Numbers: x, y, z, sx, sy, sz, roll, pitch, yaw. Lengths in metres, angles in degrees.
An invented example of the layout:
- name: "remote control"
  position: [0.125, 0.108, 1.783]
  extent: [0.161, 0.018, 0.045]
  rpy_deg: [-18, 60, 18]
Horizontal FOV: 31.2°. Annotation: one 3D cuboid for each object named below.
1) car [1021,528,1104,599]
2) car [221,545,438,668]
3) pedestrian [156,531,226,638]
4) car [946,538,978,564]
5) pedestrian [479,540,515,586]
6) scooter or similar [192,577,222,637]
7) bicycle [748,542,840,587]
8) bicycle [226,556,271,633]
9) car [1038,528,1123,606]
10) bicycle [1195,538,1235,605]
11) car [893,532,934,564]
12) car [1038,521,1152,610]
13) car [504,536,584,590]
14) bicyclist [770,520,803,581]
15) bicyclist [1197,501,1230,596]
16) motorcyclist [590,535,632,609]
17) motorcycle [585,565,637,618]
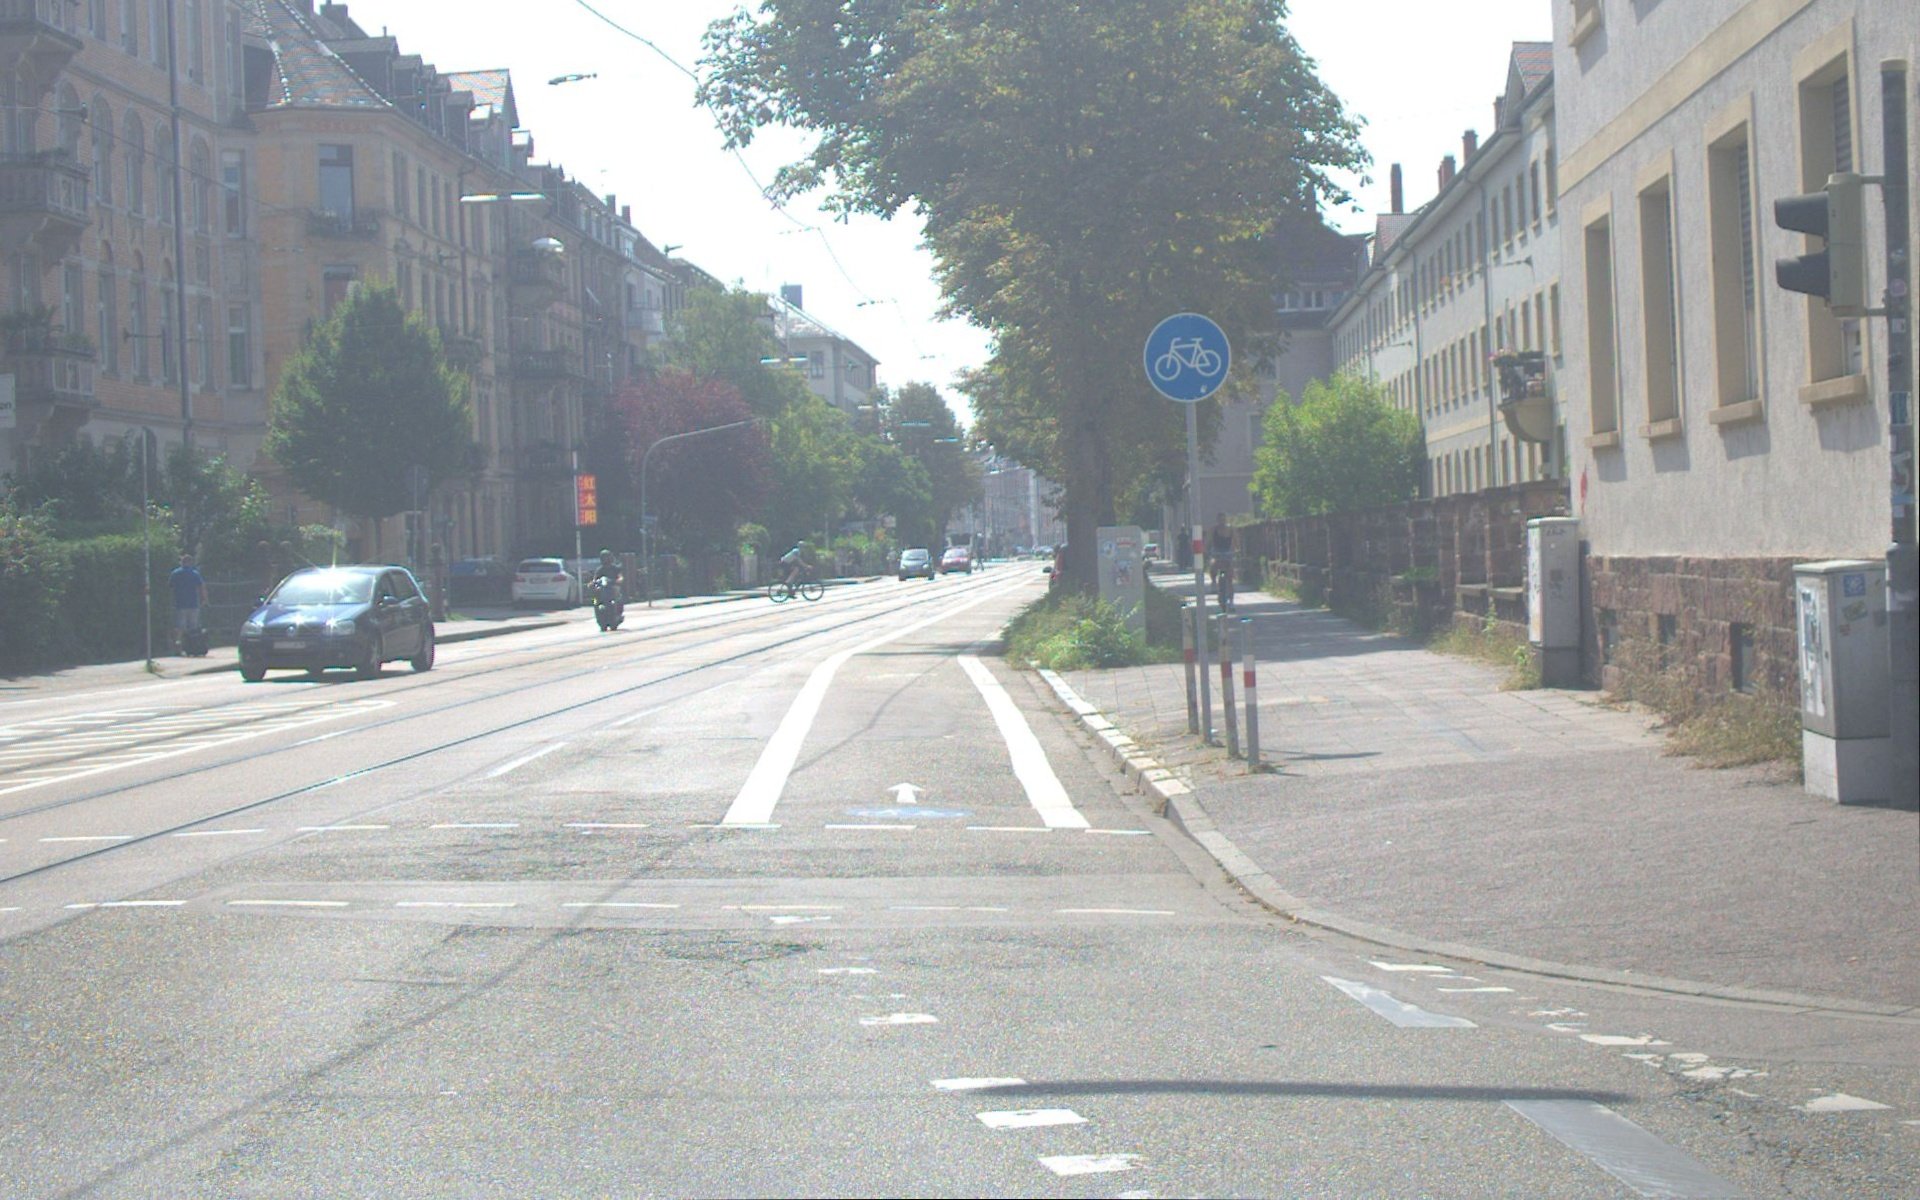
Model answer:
- name: "car"
  position: [2.458, -0.872, 81.465]
  extent: [1.755, 1.472, 4.457]
  rpy_deg: [-6, 0, 3]
- name: "car"
  position: [-8.321, 0.050, 45.712]
  extent: [1.727, 1.428, 4.176]
  rpy_deg: [1, 2, 6]
- name: "pedestrian"
  position: [-12.845, -0.265, 57.433]
  extent: [0.883, 1.750, 0.870]
  rpy_deg: [-2, 1, 3]
- name: "car"
  position: [0.160, -2.956, 207.858]
  extent: [1.732, 1.485, 4.000]
  rpy_deg: [-3, 1, 2]
- name: "pedestrian"
  position: [-15.459, -1.222, 114.764]
  extent: [0.883, 1.506, 0.870]
  rpy_deg: [-3, 1, -28]
- name: "scooter or similar"
  position: [-12.444, 0.106, 56.805]
  extent: [0.400, 0.979, 0.584]
  rpy_deg: [-1, 1, -5]
- name: "bicycle"
  position: [-5.050, -1.082, 104.475]
  extent: [2.703, 1.265, 1.152]
  rpy_deg: [-2, 1, -4]
- name: "bicycle"
  position: [-13.373, -0.115, 64.638]
  extent: [0.390, 1.401, 1.582]
  rpy_deg: [-2, 1, 3]
- name: "car"
  position: [2.507, -0.710, 71.050]
  extent: [1.617, 1.472, 4.039]
  rpy_deg: [-3, 1, 3]
- name: "bicycle"
  position: [4.087, -0.461, 55.157]
  extent: [0.440, 1.043, 1.829]
  rpy_deg: [-2, 1, -1]
- name: "car"
  position: [-2.337, -2.656, 174.674]
  extent: [1.827, 1.535, 4.000]
  rpy_deg: [-3, 1, 2]
- name: "car"
  position: [2.511, -0.656, 63.460]
  extent: [1.617, 1.525, 3.498]
  rpy_deg: [-3, 1, 9]
- name: "car"
  position: [-13.053, -1.170, 108.105]
  extent: [1.993, 1.589, 4.360]
  rpy_deg: [-2, 1, -1]
- name: "bicyclist"
  position: [-5.268, -1.502, 104.461]
  extent: [0.952, 1.830, 1.129]
  rpy_deg: [-2, 0, -3]
- name: "bicyclist"
  position: [4.071, -0.831, 55.286]
  extent: [0.437, 1.507, 0.472]
  rpy_deg: [-2, 1, -1]
- name: "motorcyclist"
  position: [-7.206, -0.580, 71.078]
  extent: [0.689, 1.506, 0.773]
  rpy_deg: [-2, 1, 4]
- name: "motorcycle"
  position: [-7.196, -0.180, 71.021]
  extent: [0.691, 1.027, 2.157]
  rpy_deg: [-2, 1, 4]
